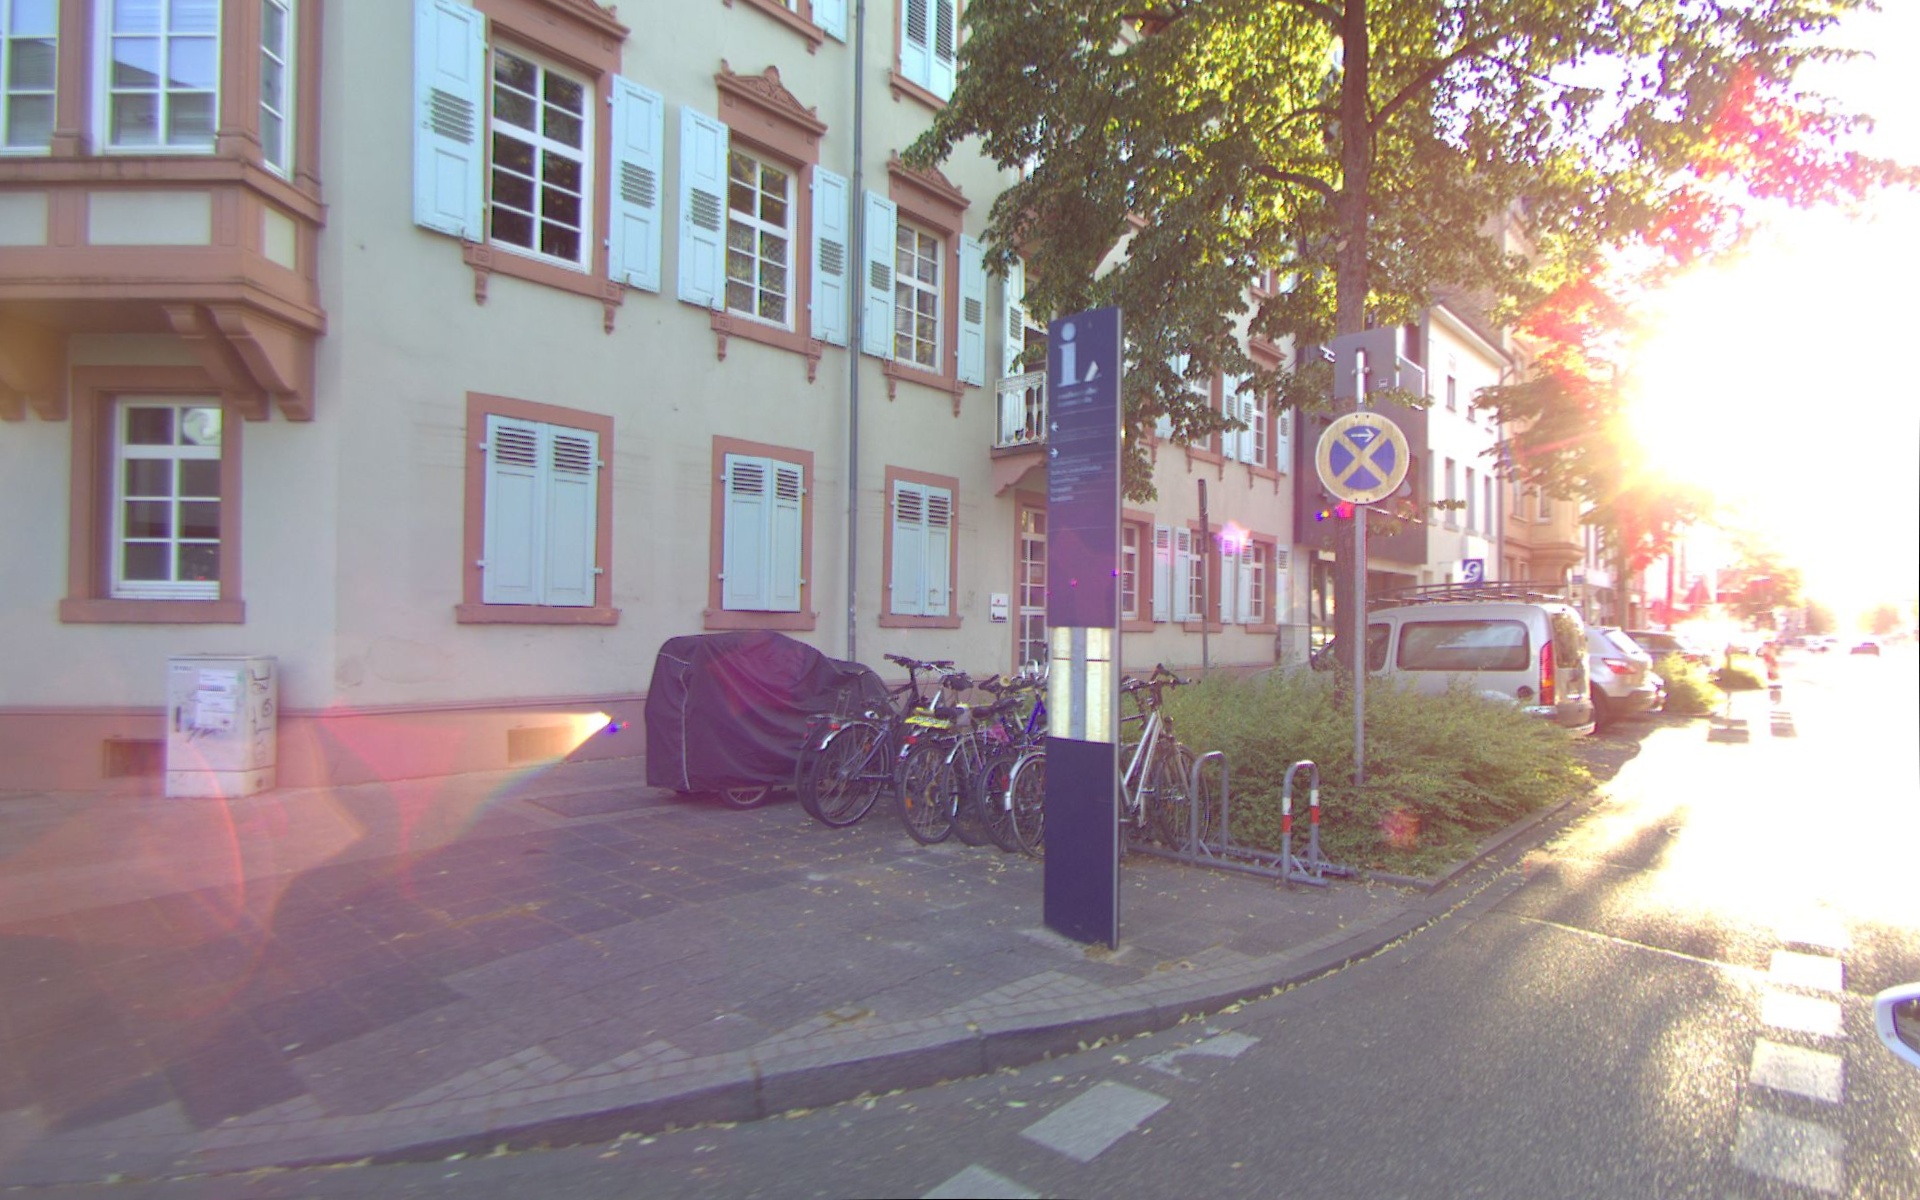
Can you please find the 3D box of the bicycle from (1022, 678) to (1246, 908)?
[{"bbox_3d":[1.085,1.062,5.970,0.391,1.123,1.702,2,0,44],"label":"bicycle"}]

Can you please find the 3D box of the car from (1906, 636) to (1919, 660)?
[{"bbox_3d":[60.959,3.059,63.193,1.900,1.434,4.524,3,0,42],"label":"car"}]

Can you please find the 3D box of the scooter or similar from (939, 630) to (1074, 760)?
[{"bbox_3d":[0.502,0.927,10.335,0.668,1.238,1.387,-1,-2,42],"label":"scooter or similar"}]

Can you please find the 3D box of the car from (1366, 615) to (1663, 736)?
[{"bbox_3d":[8.704,1.104,15.950,1.730,1.606,3.786,3,-1,-45],"label":"car"}]

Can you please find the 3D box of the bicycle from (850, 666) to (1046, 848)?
[{"bbox_3d":[-0.040,1.028,6.973,0.337,1.096,1.587,-1,-2,44],"label":"bicycle"}]

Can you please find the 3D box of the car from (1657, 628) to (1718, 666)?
[{"bbox_3d":[31.681,2.004,43.708,1.754,1.535,3.929,0,-1,42],"label":"car"}]

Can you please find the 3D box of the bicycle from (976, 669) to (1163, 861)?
[{"bbox_3d":[0.777,1.044,6.750,0.315,1.096,1.587,2,0,44],"label":"bicycle"}]

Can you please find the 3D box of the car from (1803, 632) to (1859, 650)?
[{"bbox_3d":[79.883,3.773,92.181,3.549,1.503,1.635,0,0,12],"label":"car"}]

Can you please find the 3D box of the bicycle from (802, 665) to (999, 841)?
[{"bbox_3d":[-0.379,1.025,7.148,0.319,1.096,1.587,0,-2,44],"label":"bicycle"}]

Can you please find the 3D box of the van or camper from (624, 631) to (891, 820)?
[{"bbox_3d":[-1.556,0.906,7.924,1.833,1.276,0.932,2,-1,-44],"label":"van or camper"}]

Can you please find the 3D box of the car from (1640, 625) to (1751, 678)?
[{"bbox_3d":[22.641,1.572,30.935,2.661,1.540,1.565,-2,-2,39],"label":"car"}]

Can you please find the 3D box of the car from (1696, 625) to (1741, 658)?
[{"bbox_3d":[43.702,2.397,57.843,1.805,1.834,5.324,-2,-3,39],"label":"car"}]

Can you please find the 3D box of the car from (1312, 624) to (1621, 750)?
[{"bbox_3d":[7.110,1.126,14.336,1.637,1.535,3.616,2,-2,-42],"label":"car"}]

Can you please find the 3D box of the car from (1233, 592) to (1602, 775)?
[{"bbox_3d":[5.453,0.902,12.266,1.689,1.874,3.773,2,-2,-44],"label":"car"}]

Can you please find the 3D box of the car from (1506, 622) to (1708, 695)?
[{"bbox_3d":[15.608,1.359,24.322,3.851,1.537,1.846,0,-1,43],"label":"car"}]

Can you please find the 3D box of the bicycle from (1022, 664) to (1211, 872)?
[{"bbox_3d":[1.056,1.019,6.521,0.327,1.156,1.587,2,0,44],"label":"bicycle"}]

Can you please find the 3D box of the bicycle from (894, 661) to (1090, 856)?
[{"bbox_3d":[0.262,1.002,6.777,0.308,1.163,1.602,0,-2,44],"label":"bicycle"}]

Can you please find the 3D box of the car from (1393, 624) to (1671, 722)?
[{"bbox_3d":[10.243,1.222,18.136,4.156,1.536,1.755,0,-2,39],"label":"car"}]

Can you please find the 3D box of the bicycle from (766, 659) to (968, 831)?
[{"bbox_3d":[-0.641,1.012,7.414,0.391,1.096,1.587,2,0,44],"label":"bicycle"}]

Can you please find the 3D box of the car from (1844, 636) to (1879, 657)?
[{"bbox_3d":[66.962,3.466,74.632,1.862,1.434,4.302,1,-1,42],"label":"car"}]

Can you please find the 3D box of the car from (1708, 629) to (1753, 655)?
[{"bbox_3d":[48.256,2.634,62.880,1.807,1.576,5.108,-3,-3,42],"label":"car"}]

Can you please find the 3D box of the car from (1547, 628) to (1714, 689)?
[{"bbox_3d":[17.366,1.467,26.097,3.361,1.410,1.676,0,-1,45],"label":"car"}]
